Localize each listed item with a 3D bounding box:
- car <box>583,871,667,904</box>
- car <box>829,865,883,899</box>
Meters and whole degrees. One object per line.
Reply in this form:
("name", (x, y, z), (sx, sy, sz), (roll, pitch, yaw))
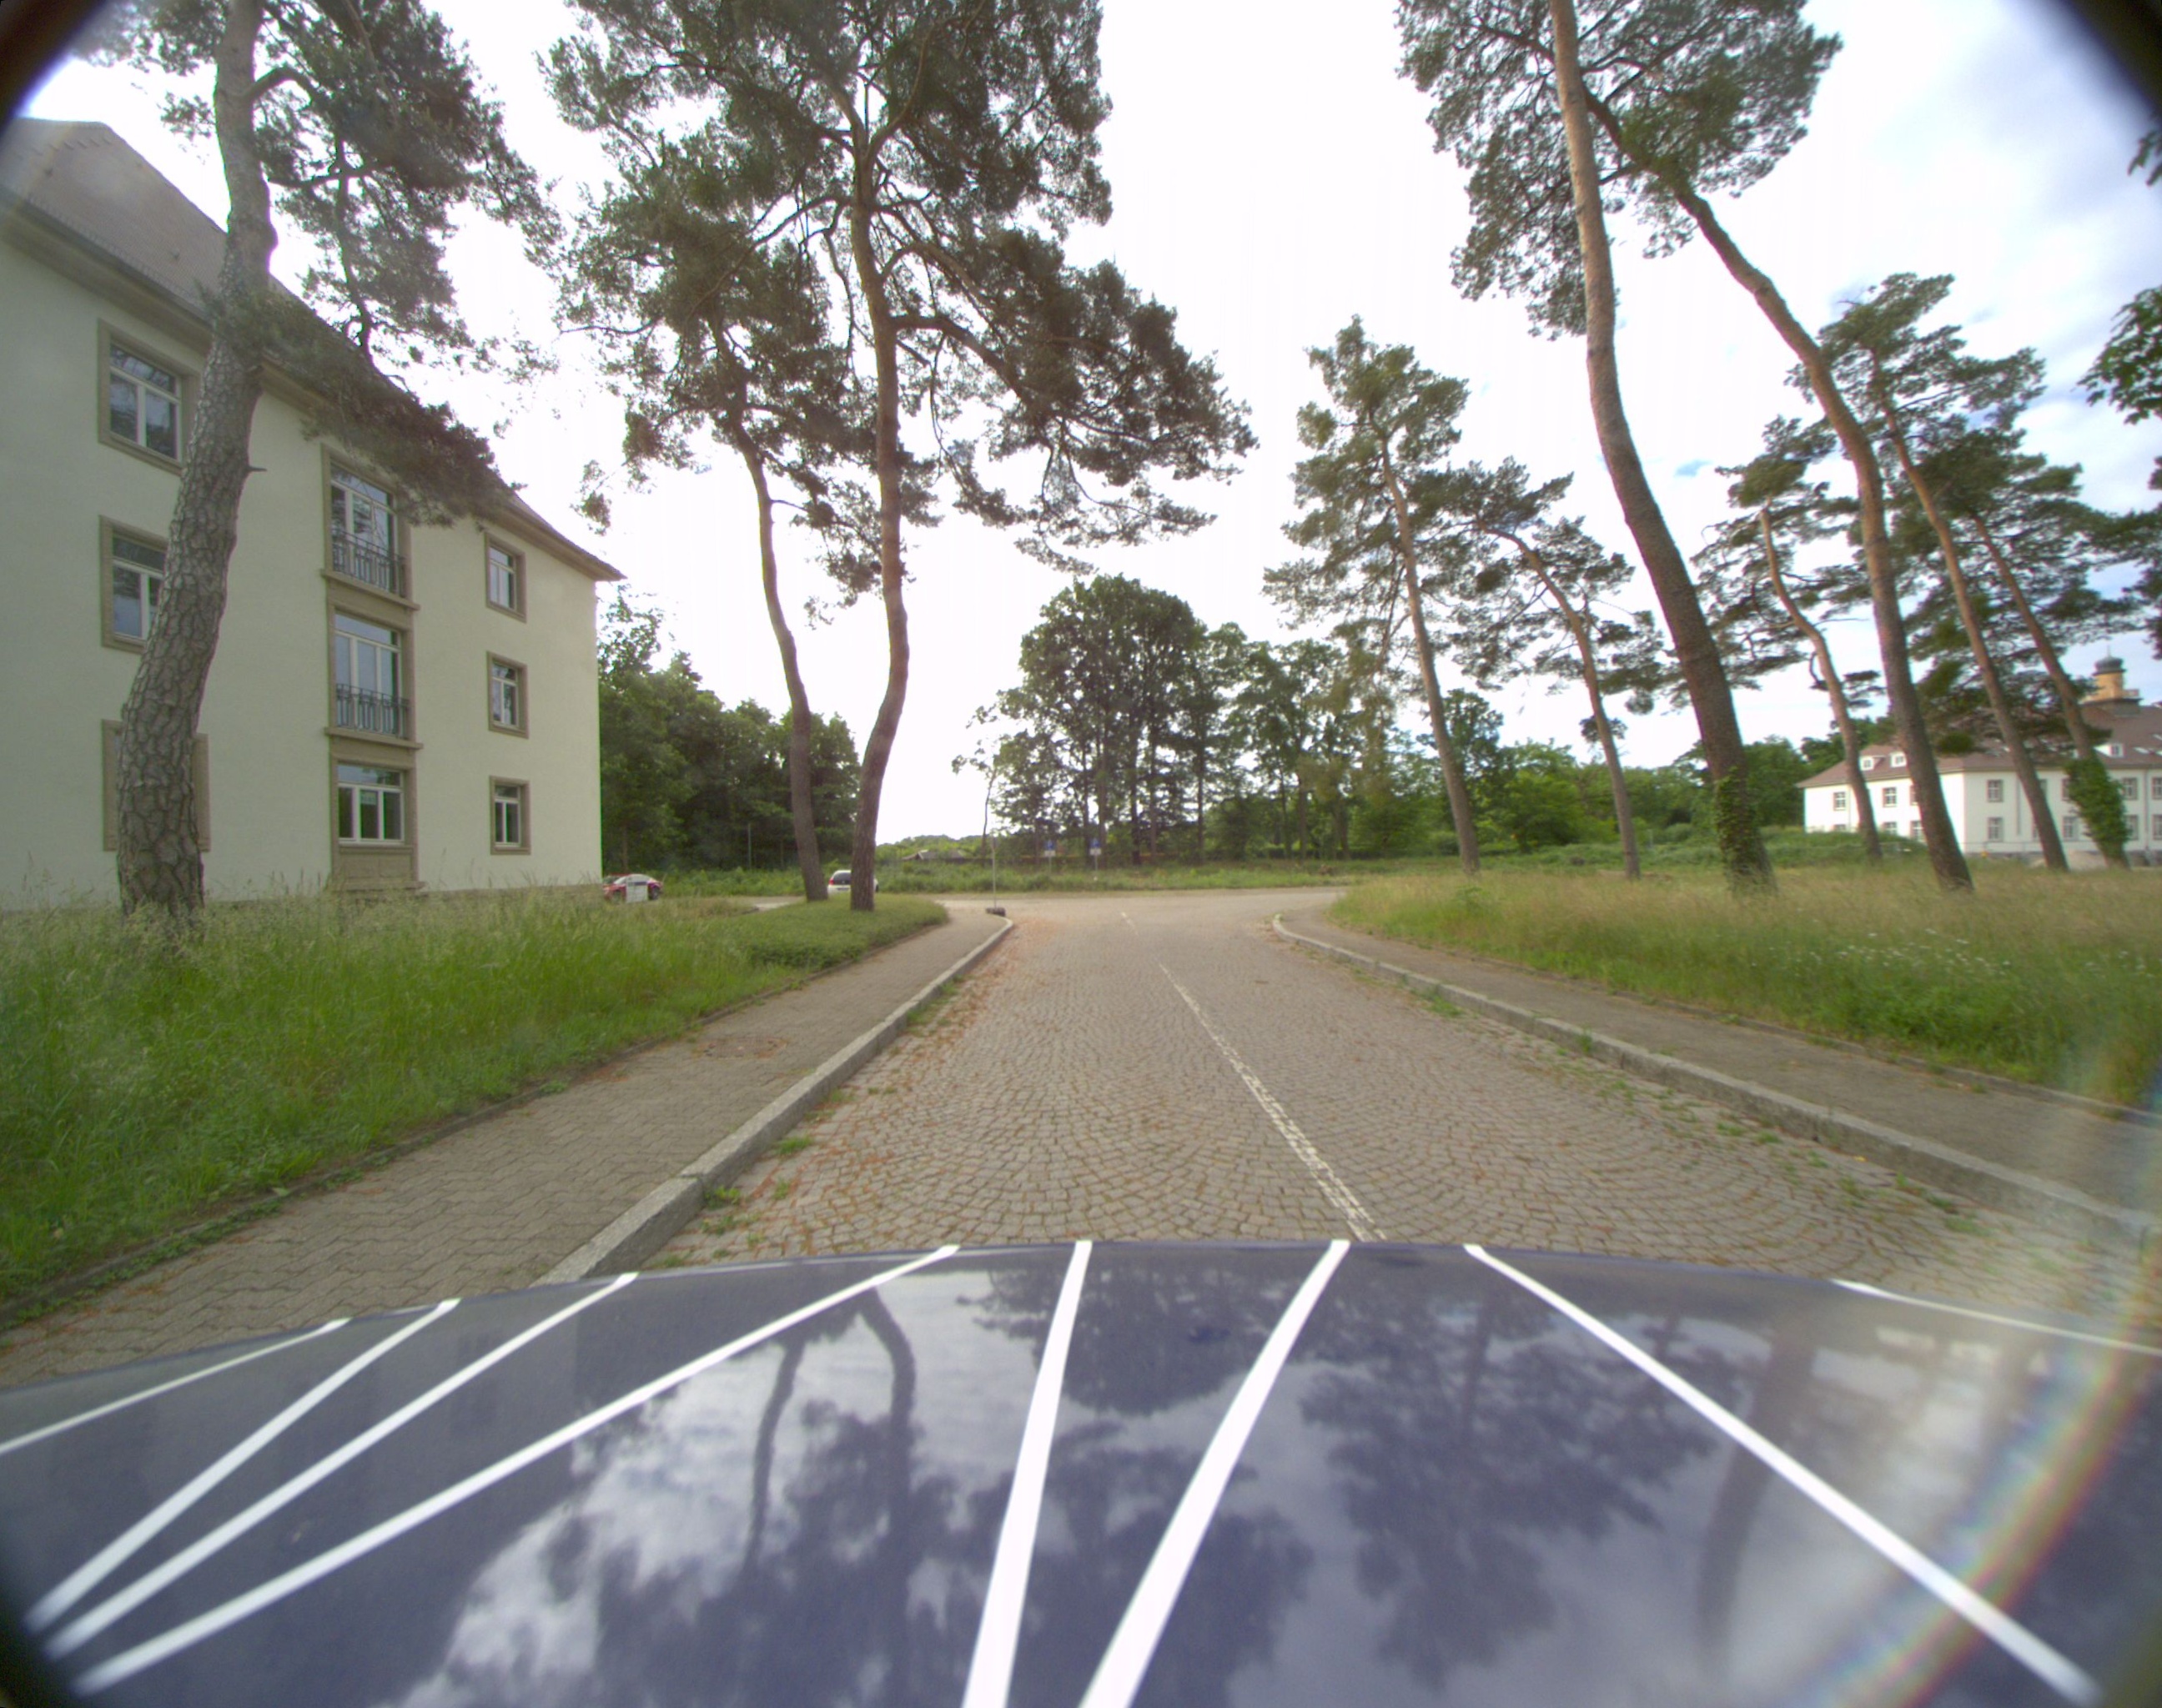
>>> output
("car", (-22.431, 1.617, 37.555), (1.641, 1.321, 3.999), (-1, 2, 1))
("car", (-11.126, 1.365, 37.849), (1.641, 1.426, 3.277), (-1, 2, 1))
